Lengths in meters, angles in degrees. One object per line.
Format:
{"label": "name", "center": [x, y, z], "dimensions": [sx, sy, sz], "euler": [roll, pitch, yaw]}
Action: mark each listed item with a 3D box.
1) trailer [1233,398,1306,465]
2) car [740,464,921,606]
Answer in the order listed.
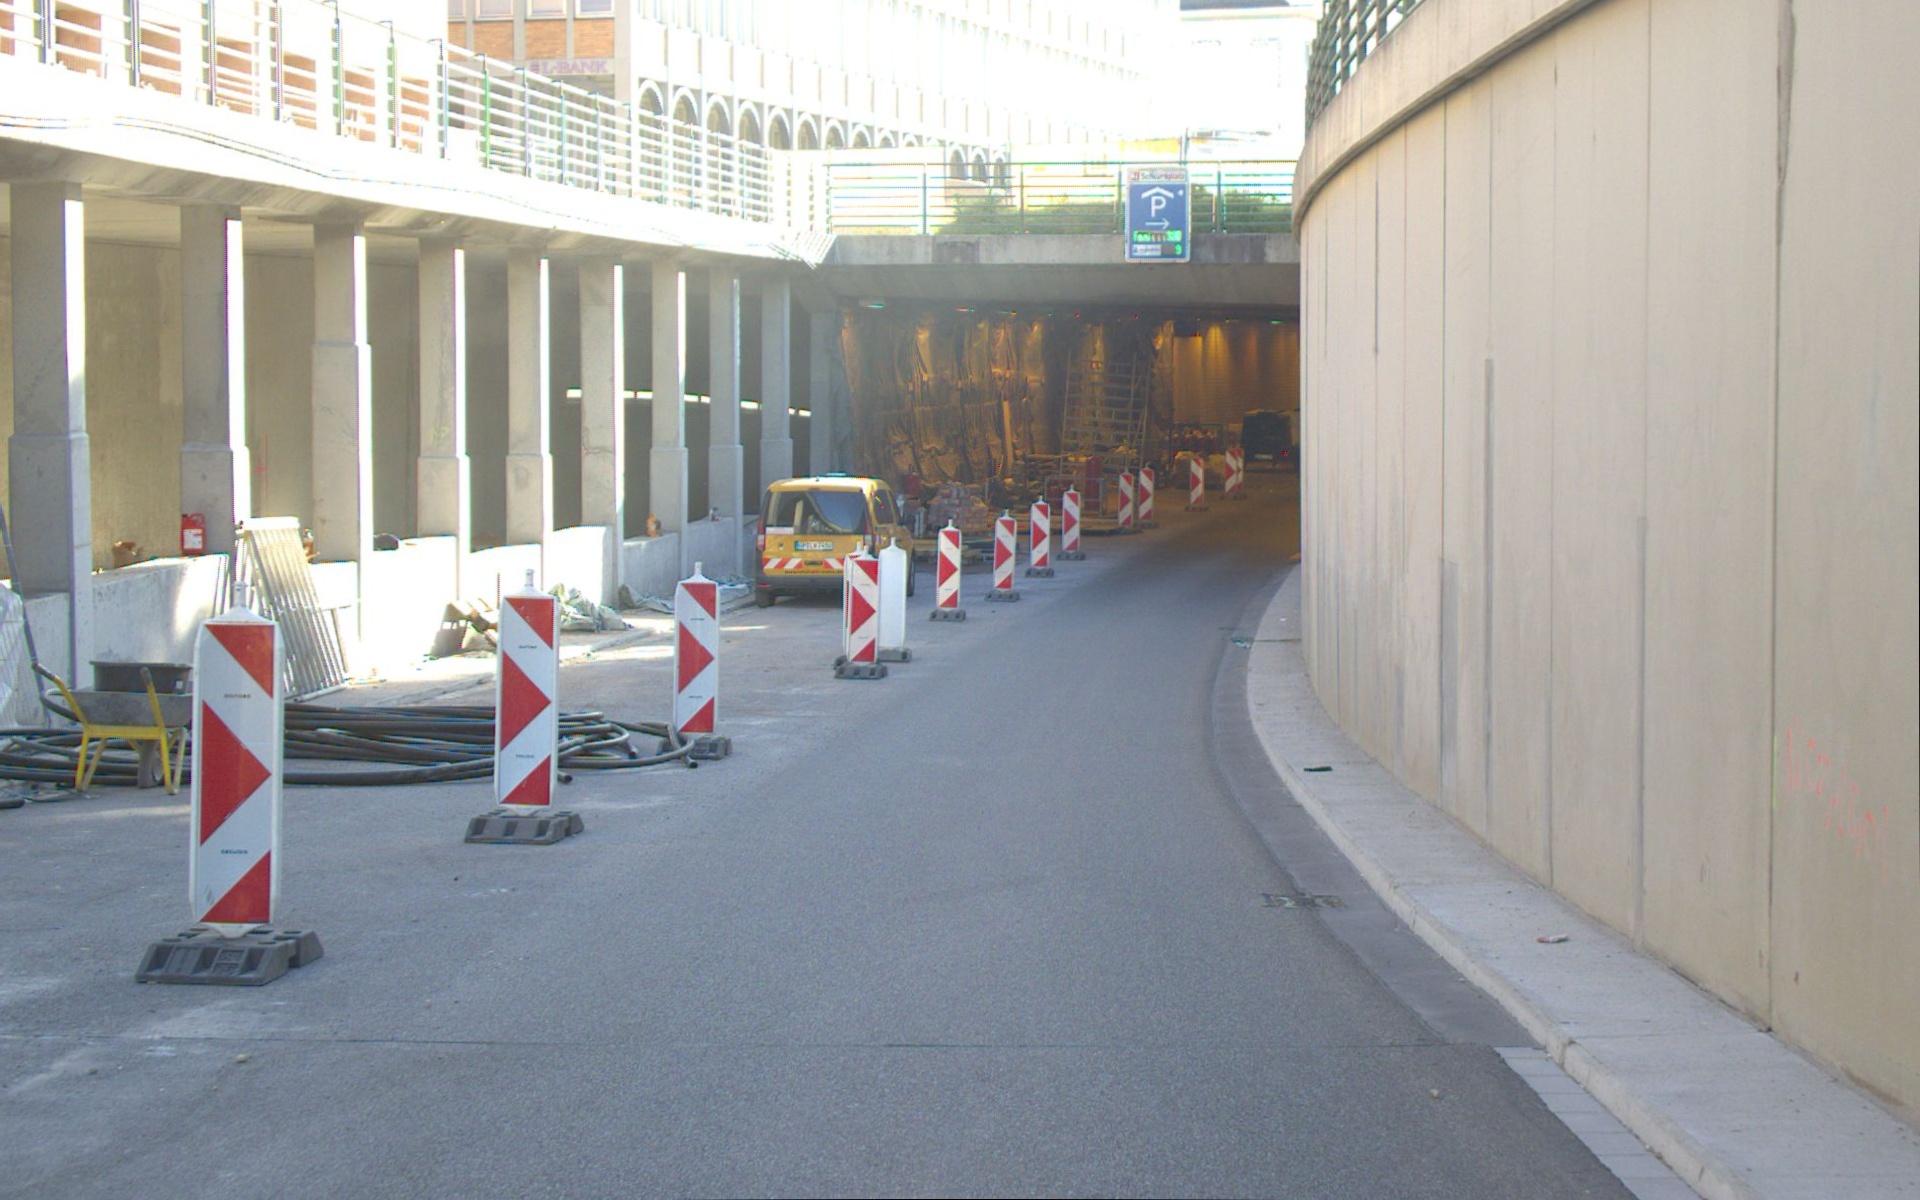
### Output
{"label": "trailer", "center": [8.854, -4.831, 98.230], "dimensions": [1.581, 1.791, 2.938], "euler": [2, 4, 14]}
{"label": "car", "center": [-1.781, -0.971, 48.688], "dimensions": [1.848, 1.769, 4.434], "euler": [1, 4, 7]}
